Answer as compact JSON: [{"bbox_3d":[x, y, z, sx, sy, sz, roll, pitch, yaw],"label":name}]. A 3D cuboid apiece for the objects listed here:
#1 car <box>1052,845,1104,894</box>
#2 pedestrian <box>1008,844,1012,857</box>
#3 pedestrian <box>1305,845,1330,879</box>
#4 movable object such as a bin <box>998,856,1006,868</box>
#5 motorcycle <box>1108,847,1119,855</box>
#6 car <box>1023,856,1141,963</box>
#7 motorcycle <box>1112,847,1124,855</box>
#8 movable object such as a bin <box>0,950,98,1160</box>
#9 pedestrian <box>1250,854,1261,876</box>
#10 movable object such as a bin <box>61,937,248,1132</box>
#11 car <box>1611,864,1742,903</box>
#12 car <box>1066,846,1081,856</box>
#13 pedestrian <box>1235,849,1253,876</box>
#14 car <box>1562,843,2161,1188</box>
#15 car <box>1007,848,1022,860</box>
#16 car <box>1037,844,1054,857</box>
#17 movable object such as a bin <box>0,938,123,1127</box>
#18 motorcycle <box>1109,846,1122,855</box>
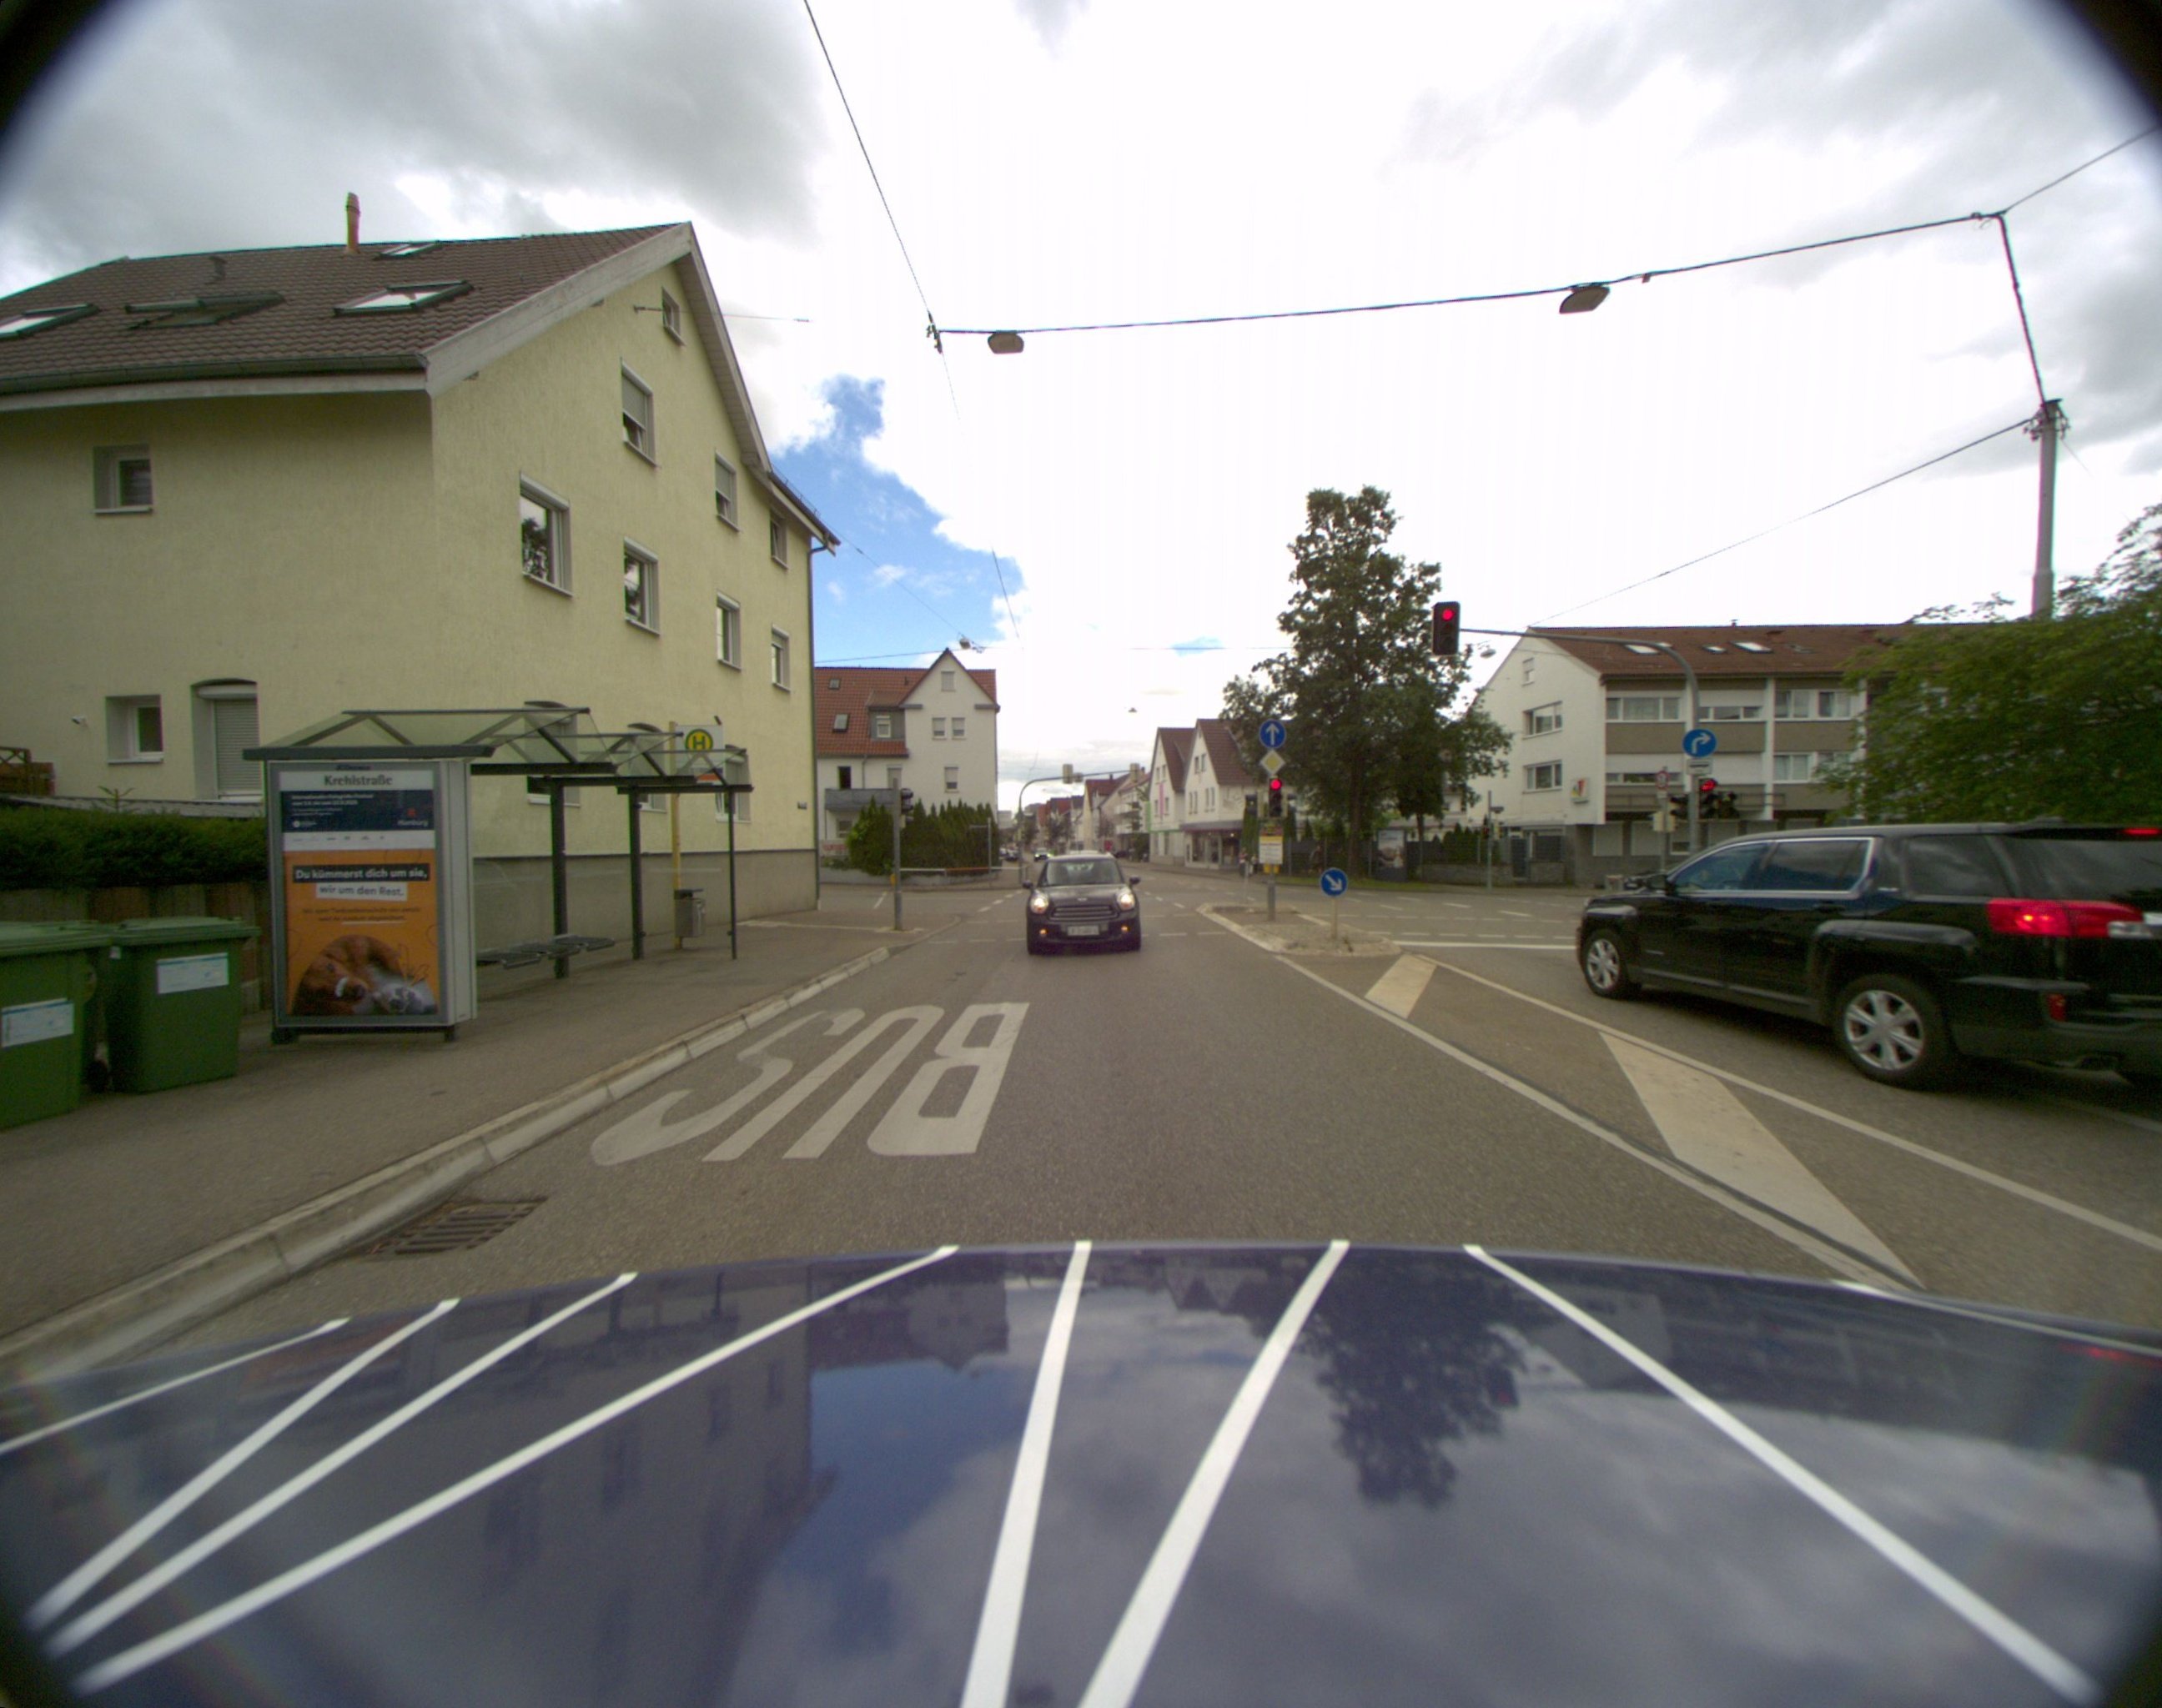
[{"bbox_3d":[-0.181,0.533,29.763,1.811,1.556,4.615,-2,3,-2],"label":"car"},{"bbox_3d":[-10.148,-0.514,108.986,0.497,1.744,0.451,0,1,-5],"label":"pedestrian"},{"bbox_3d":[12.438,0.404,39.963,0.824,1.744,1.228,-2,2,-5],"label":"pedestrian"},{"bbox_3d":[-5.923,0.612,56.942,0.566,0.898,0.519,0,2,-6],"label":"movable object such as a bin"},{"bbox_3d":[4.432,-0.399,103.854,1.516,1.099,0.589,-3,2,0],"label":"motorcycle"},{"bbox_3d":[0.049,0.811,13.073,1.693,1.506,4.000,-1,0,1],"label":"car"},{"bbox_3d":[5.022,-0.372,103.128,1.430,1.017,0.525,-3,2,-6],"label":"motorcycle"},{"bbox_3d":[-5.993,1.086,4.056,0.638,1.040,0.585,-2,2,-4],"label":"movable object such as a bin"},{"bbox_3d":[10.239,0.636,44.551,0.383,1.255,0.549,-3,2,-16],"label":"pedestrian"},{"bbox_3d":[-5.848,1.091,4.807,0.636,1.040,0.593,-1,2,29],"label":"movable object such as a bin"},{"bbox_3d":[22.902,1.125,29.325,3.642,1.390,1.772,1,1,1],"label":"car"},{"bbox_3d":[-1.202,-0.413,113.652,1.635,1.404,3.996,0,1,-9],"label":"car"},{"bbox_3d":[9.547,0.490,44.587,0.642,1.596,0.865,-3,2,-16],"label":"pedestrian"},{"bbox_3d":[6.011,0.778,5.958,1.762,1.626,4.595,1,2,4],"label":"car"},{"bbox_3d":[-9.218,-0.025,104.974,1.847,1.510,3.996,-2,1,-8],"label":"car"},{"bbox_3d":[-4.461,-0.470,96.114,1.847,1.510,3.997,-2,1,-6],"label":"car"},{"bbox_3d":[-6.690,1.084,4.732,0.638,1.040,0.585,-1,2,-4],"label":"movable object such as a bin"},{"bbox_3d":[4.812,-0.455,105.636,1.679,1.099,0.558,-3,2,-6],"label":"motorcycle"}]
